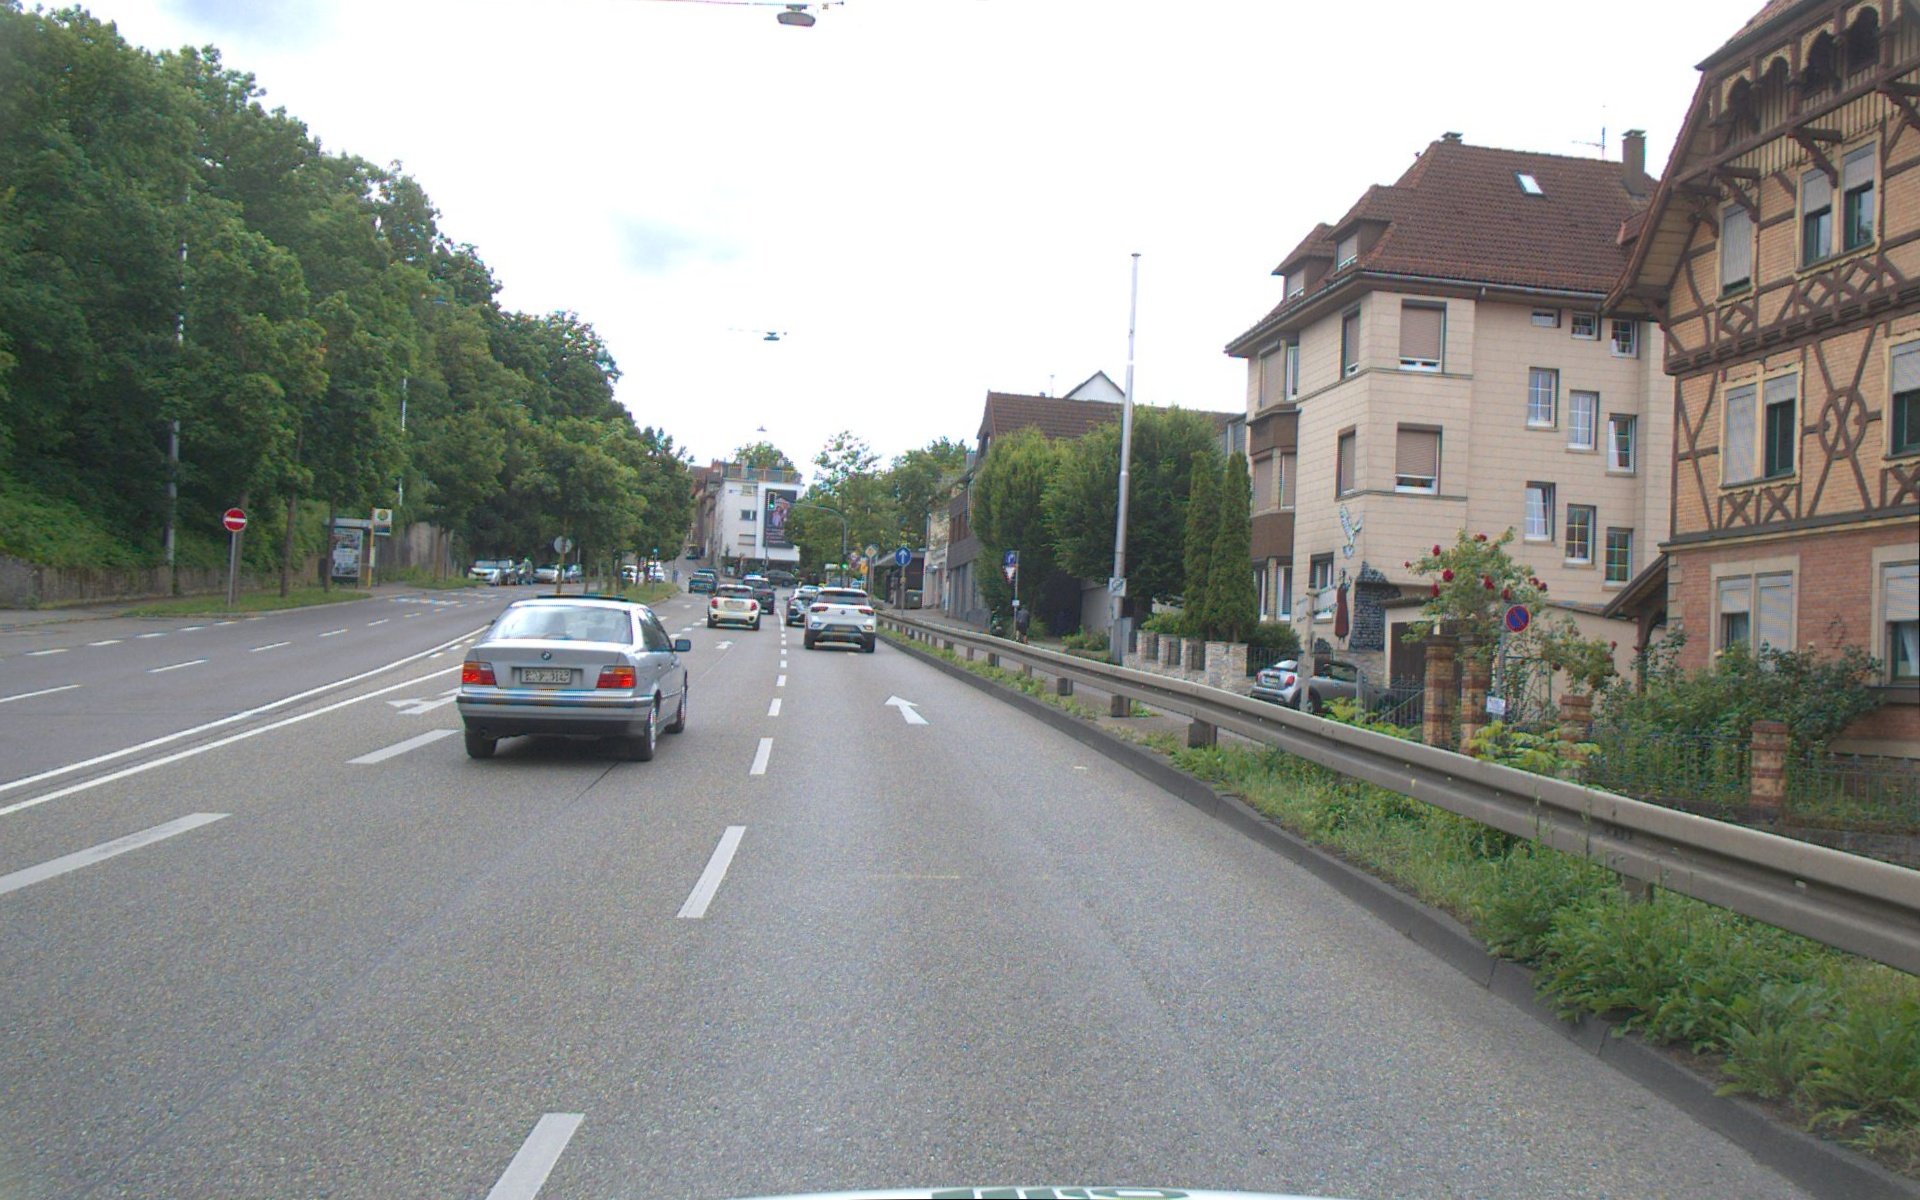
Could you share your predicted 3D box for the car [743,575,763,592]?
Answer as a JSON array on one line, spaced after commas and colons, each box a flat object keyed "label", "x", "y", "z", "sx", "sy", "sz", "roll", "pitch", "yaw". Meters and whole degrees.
[{"label": "car", "x": -17.860, "y": -1.415, "z": 142.632, "sx": 1.690, "sy": 1.400, "sz": 3.451, "roll": 0, "pitch": 0, "yaw": -7}]

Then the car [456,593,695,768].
[{"label": "car", "x": -3.486, "y": 0.655, "z": 15.731, "sx": 1.603, "sy": 1.407, "sz": 4.614, "roll": 1, "pitch": 0, "yaw": -6}]

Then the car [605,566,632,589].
[{"label": "car", "x": -28.959, "y": -1.926, "z": 140.430, "sx": 1.825, "sy": 1.699, "sz": 4.272, "roll": 4, "pitch": 1, "yaw": -8}]

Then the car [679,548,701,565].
[{"label": "car", "x": -35.720, "y": -5.700, "z": 218.784, "sx": 2.462, "sy": 2.048, "sz": 5.175, "roll": 5, "pitch": 1, "yaw": -6}]

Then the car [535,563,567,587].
[{"label": "car", "x": -30.604, "y": -1.912, "z": 123.883, "sx": 1.826, "sy": 1.621, "sz": 4.271, "roll": 4, "pitch": 1, "yaw": -9}]

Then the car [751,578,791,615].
[{"label": "car", "x": -8.868, "y": -0.152, "z": 77.356, "sx": 1.691, "sy": 1.668, "sz": 3.449, "roll": 0, "pitch": 0, "yaw": -9}]

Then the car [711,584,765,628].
[{"label": "car", "x": -7.361, "y": 0.188, "z": 54.662, "sx": 1.691, "sy": 1.400, "sz": 3.449, "roll": 0, "pitch": 0, "yaw": -9}]

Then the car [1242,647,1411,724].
[{"label": "car", "x": 8.747, "y": 2.038, "z": 39.528, "sx": 3.555, "sy": 1.459, "sz": 1.693, "roll": 5, "pitch": 0, "yaw": -23}]

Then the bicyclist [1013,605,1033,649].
[{"label": "bicyclist", "x": 2.285, "y": 0.972, "z": 60.315, "sx": 0.556, "sy": 1.551, "sz": 0.957, "roll": 0, "pitch": 1, "yaw": -9}]

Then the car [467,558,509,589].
[{"label": "car", "x": -28.960, "y": -1.628, "z": 101.515, "sx": 1.826, "sy": 1.699, "sz": 4.271, "roll": 4, "pitch": 1, "yaw": -9}]

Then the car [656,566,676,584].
[{"label": "car", "x": -29.708, "y": -2.528, "z": 167.126, "sx": 1.826, "sy": 1.567, "sz": 4.271, "roll": 4, "pitch": 1, "yaw": -9}]

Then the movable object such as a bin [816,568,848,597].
[{"label": "movable object such as a bin", "x": -9.161, "y": -1.234, "z": 118.405, "sx": 1.861, "sy": 1.902, "sz": 1.522, "roll": 4, "pitch": 0, "yaw": -16}]

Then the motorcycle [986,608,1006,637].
[{"label": "motorcycle", "x": 1.580, "y": 0.986, "z": 73.481, "sx": 0.596, "sy": 1.182, "sz": 2.038, "roll": 2, "pitch": 1, "yaw": -6}]

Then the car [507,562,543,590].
[{"label": "car", "x": -29.389, "y": -1.668, "z": 111.816, "sx": 1.826, "sy": 1.699, "sz": 4.271, "roll": 4, "pitch": 1, "yaw": -9}]

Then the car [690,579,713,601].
[{"label": "car", "x": -19.606, "y": -0.731, "z": 125.275, "sx": 1.691, "sy": 1.610, "sz": 3.449, "roll": 0, "pitch": 0, "yaw": -9}]

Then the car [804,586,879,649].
[{"label": "car", "x": -3.069, "y": 0.433, "z": 42.389, "sx": 1.763, "sy": 1.545, "sz": 3.451, "roll": 0, "pitch": 0, "yaw": -7}]

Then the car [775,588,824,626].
[{"label": "car", "x": -6.074, "y": 0.258, "z": 62.395, "sx": 1.690, "sy": 1.400, "sz": 3.450, "roll": 0, "pitch": 0, "yaw": -8}]

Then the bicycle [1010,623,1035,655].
[{"label": "bicycle", "x": 2.277, "y": 1.398, "z": 60.404, "sx": 0.556, "sy": 1.081, "sz": 2.001, "roll": 0, "pitch": 1, "yaw": -9}]

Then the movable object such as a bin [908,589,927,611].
[{"label": "movable object such as a bin", "x": -2.963, "y": 0.025, "z": 116.164, "sx": 1.173, "sy": 1.432, "sz": 0.710, "roll": 4, "pitch": 0, "yaw": -8}]
